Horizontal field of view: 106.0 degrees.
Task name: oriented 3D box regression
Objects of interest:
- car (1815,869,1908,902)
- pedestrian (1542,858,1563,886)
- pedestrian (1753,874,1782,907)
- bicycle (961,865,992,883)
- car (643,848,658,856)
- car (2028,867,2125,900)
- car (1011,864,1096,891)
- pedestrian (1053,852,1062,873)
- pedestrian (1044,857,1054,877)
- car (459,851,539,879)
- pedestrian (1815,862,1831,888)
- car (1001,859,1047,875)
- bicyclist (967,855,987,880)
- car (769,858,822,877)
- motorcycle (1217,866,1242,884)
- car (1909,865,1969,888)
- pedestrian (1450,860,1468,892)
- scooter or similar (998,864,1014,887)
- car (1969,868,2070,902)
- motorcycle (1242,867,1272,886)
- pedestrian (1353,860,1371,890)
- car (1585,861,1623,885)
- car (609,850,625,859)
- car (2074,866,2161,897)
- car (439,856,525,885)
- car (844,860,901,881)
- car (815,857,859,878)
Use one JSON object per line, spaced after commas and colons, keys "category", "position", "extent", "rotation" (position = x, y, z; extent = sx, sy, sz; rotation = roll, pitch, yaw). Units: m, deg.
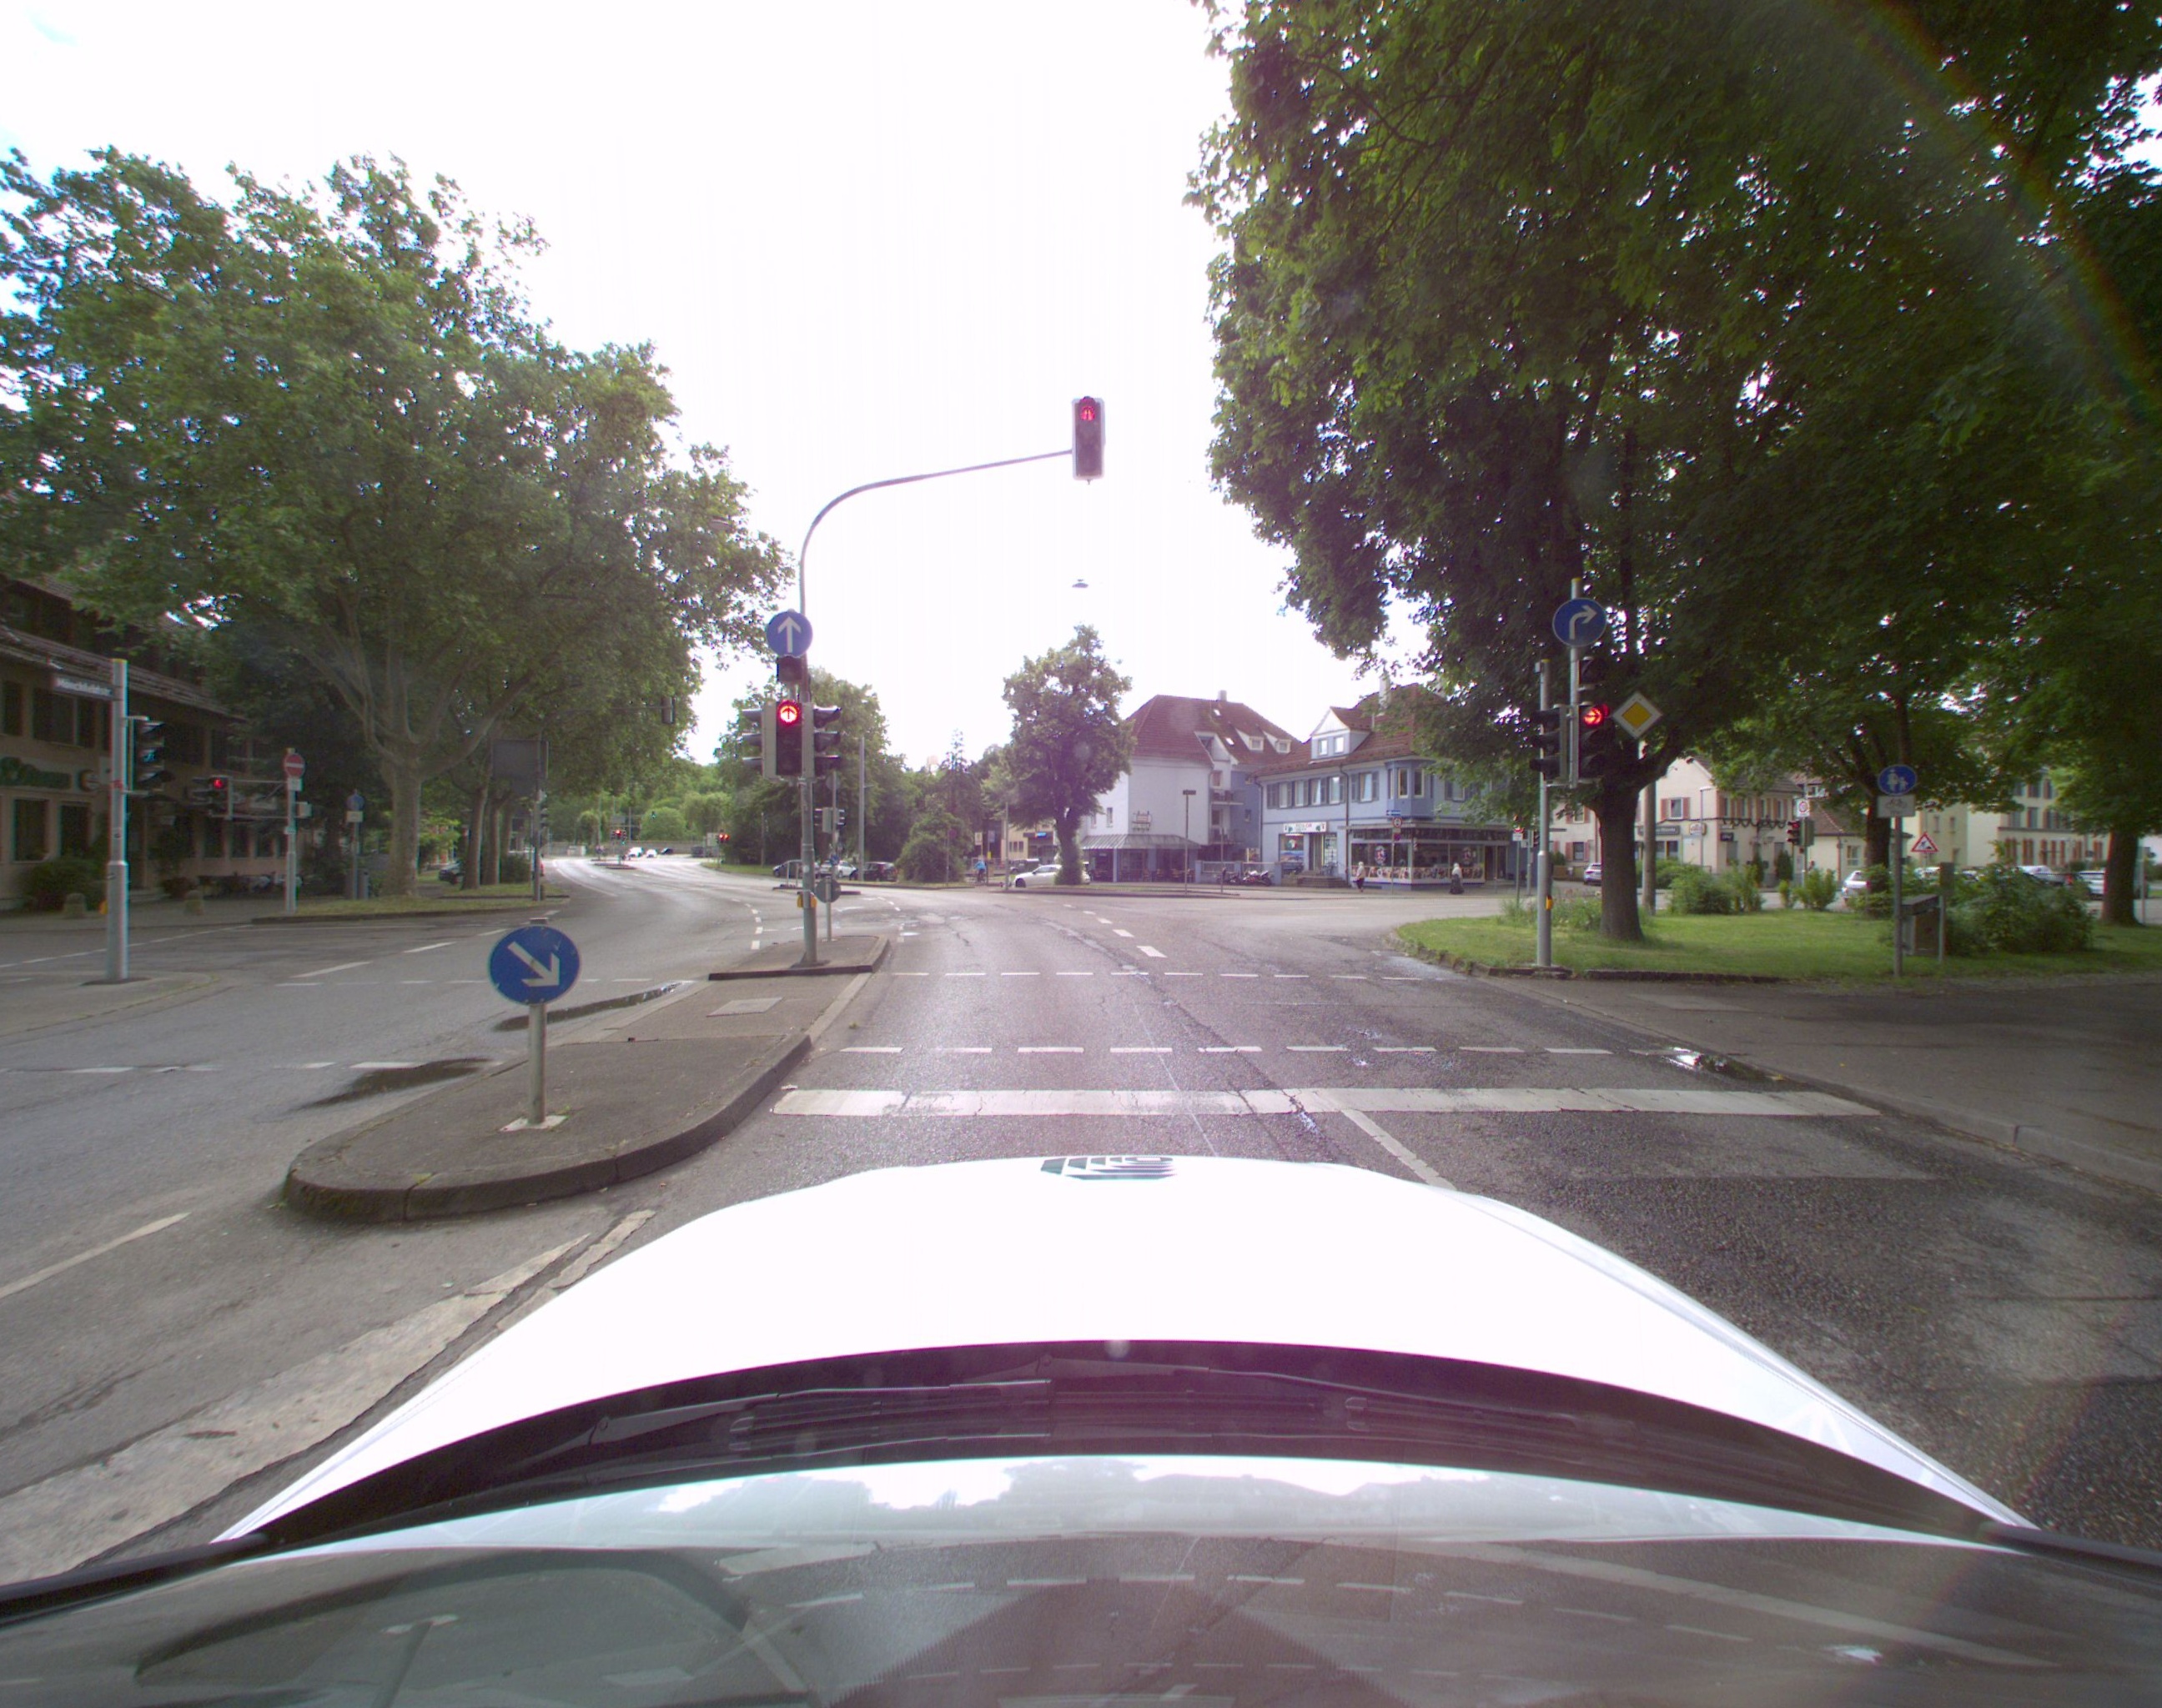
{"category": "car", "position": [31.847, 1.270, 33.233], "extent": [3.007, 1.267, 1.455], "rotation": [0, -1, -17]}
{"category": "pedestrian", "position": [26.354, 0.985, 45.498], "extent": [0.671, 1.560, 0.743], "rotation": [0, -1, -13]}
{"category": "pedestrian", "position": [22.731, 1.200, 26.967], "extent": [0.505, 1.081, 0.514], "rotation": [0, -1, -13]}
{"category": "bicycle", "position": [-7.058, 1.342, 55.056], "extent": [1.928, 1.149, 0.881], "rotation": [0, -1, 26]}
{"category": "car", "position": [-83.166, -0.435, 157.287], "extent": [2.988, 1.417, 1.509], "rotation": [-1, -2, 43]}
{"category": "car", "position": [47.081, 1.369, 38.523], "extent": [3.731, 1.457, 1.640], "rotation": [0, 0, -17]}
{"category": "car", "position": [-1.594, 1.285, 45.935], "extent": [4.654, 1.410, 1.914], "rotation": [0, -1, 37]}
{"category": "pedestrian", "position": [-1.720, 0.614, 59.410], "extent": [0.538, 1.560, 0.470], "rotation": [-1, -1, 15]}
{"category": "pedestrian", "position": [-3.231, 1.299, 81.089], "extent": [0.838, 2.014, 1.051], "rotation": [0, -1, -12]}
{"category": "car", "position": [-36.460, 0.681, 51.176], "extent": [4.015, 1.684, 1.979], "rotation": [0, -1, -34]}
{"category": "pedestrian", "position": [45.541, 1.273, 49.980], "extent": [0.504, 1.560, 0.507], "rotation": [0, -1, -13]}
{"category": "car", "position": [-5.322, 1.234, 75.919], "extent": [3.948, 1.442, 1.742], "rotation": [0, 0, -18]}
{"category": "bicyclist", "position": [-7.011, 0.911, 55.047], "extent": [0.976, 1.651, 0.923], "rotation": [0, -1, 27]}
{"category": "car", "position": [-22.590, 1.028, 64.517], "extent": [3.742, 1.465, 1.629], "rotation": [0, 0, 20]}
{"category": "motorcycle", "position": [9.135, 1.307, 50.051], "extent": [1.441, 1.088, 0.527], "rotation": [-1, -1, 37]}
{"category": "car", "position": [57.018, 1.502, 54.129], "extent": [3.871, 1.447, 1.753], "rotation": [0, -1, -28]}
{"category": "pedestrian", "position": [18.596, 1.086, 40.038], "extent": [0.687, 1.560, 0.671], "rotation": [-1, -1, 33]}
{"category": "scooter or similar", "position": [-3.951, 1.139, 42.848], "extent": [0.439, 1.175, 1.442], "rotation": [-1, -1, 11]}
{"category": "car", "position": [42.347, 1.377, 36.759], "extent": [3.731, 1.457, 1.640], "rotation": [0, 0, -17]}
{"category": "motorcycle", "position": [10.428, 1.318, 48.248], "extent": [1.609, 1.088, 0.631], "rotation": [-1, -1, 34]}
{"category": "pedestrian", "position": [14.730, 1.111, 42.646], "extent": [0.724, 1.560, 0.773], "rotation": [-1, -1, 33]}
{"category": "car", "position": [32.459, 1.139, 50.626], "extent": [1.866, 1.391, 3.637], "rotation": [0, 0, 31]}
{"category": "car", "position": [-87.160, 0.097, 153.034], "extent": [3.293, 1.486, 1.594], "rotation": [-1, -2, 43]}
{"category": "car", "position": [52.597, 1.368, 41.261], "extent": [3.731, 1.457, 1.640], "rotation": [0, 0, -17]}
{"category": "car", "position": [-35.629, 0.956, 48.607], "extent": [4.015, 1.684, 1.979], "rotation": [0, -1, -34]}
{"category": "car", "position": [-13.826, 1.055, 54.003], "extent": [3.285, 1.352, 1.791], "rotation": [0, 0, 29]}
{"category": "car", "position": [-20.136, 1.086, 67.408], "extent": [1.848, 1.640, 3.768], "rotation": [0, 0, 13]}
